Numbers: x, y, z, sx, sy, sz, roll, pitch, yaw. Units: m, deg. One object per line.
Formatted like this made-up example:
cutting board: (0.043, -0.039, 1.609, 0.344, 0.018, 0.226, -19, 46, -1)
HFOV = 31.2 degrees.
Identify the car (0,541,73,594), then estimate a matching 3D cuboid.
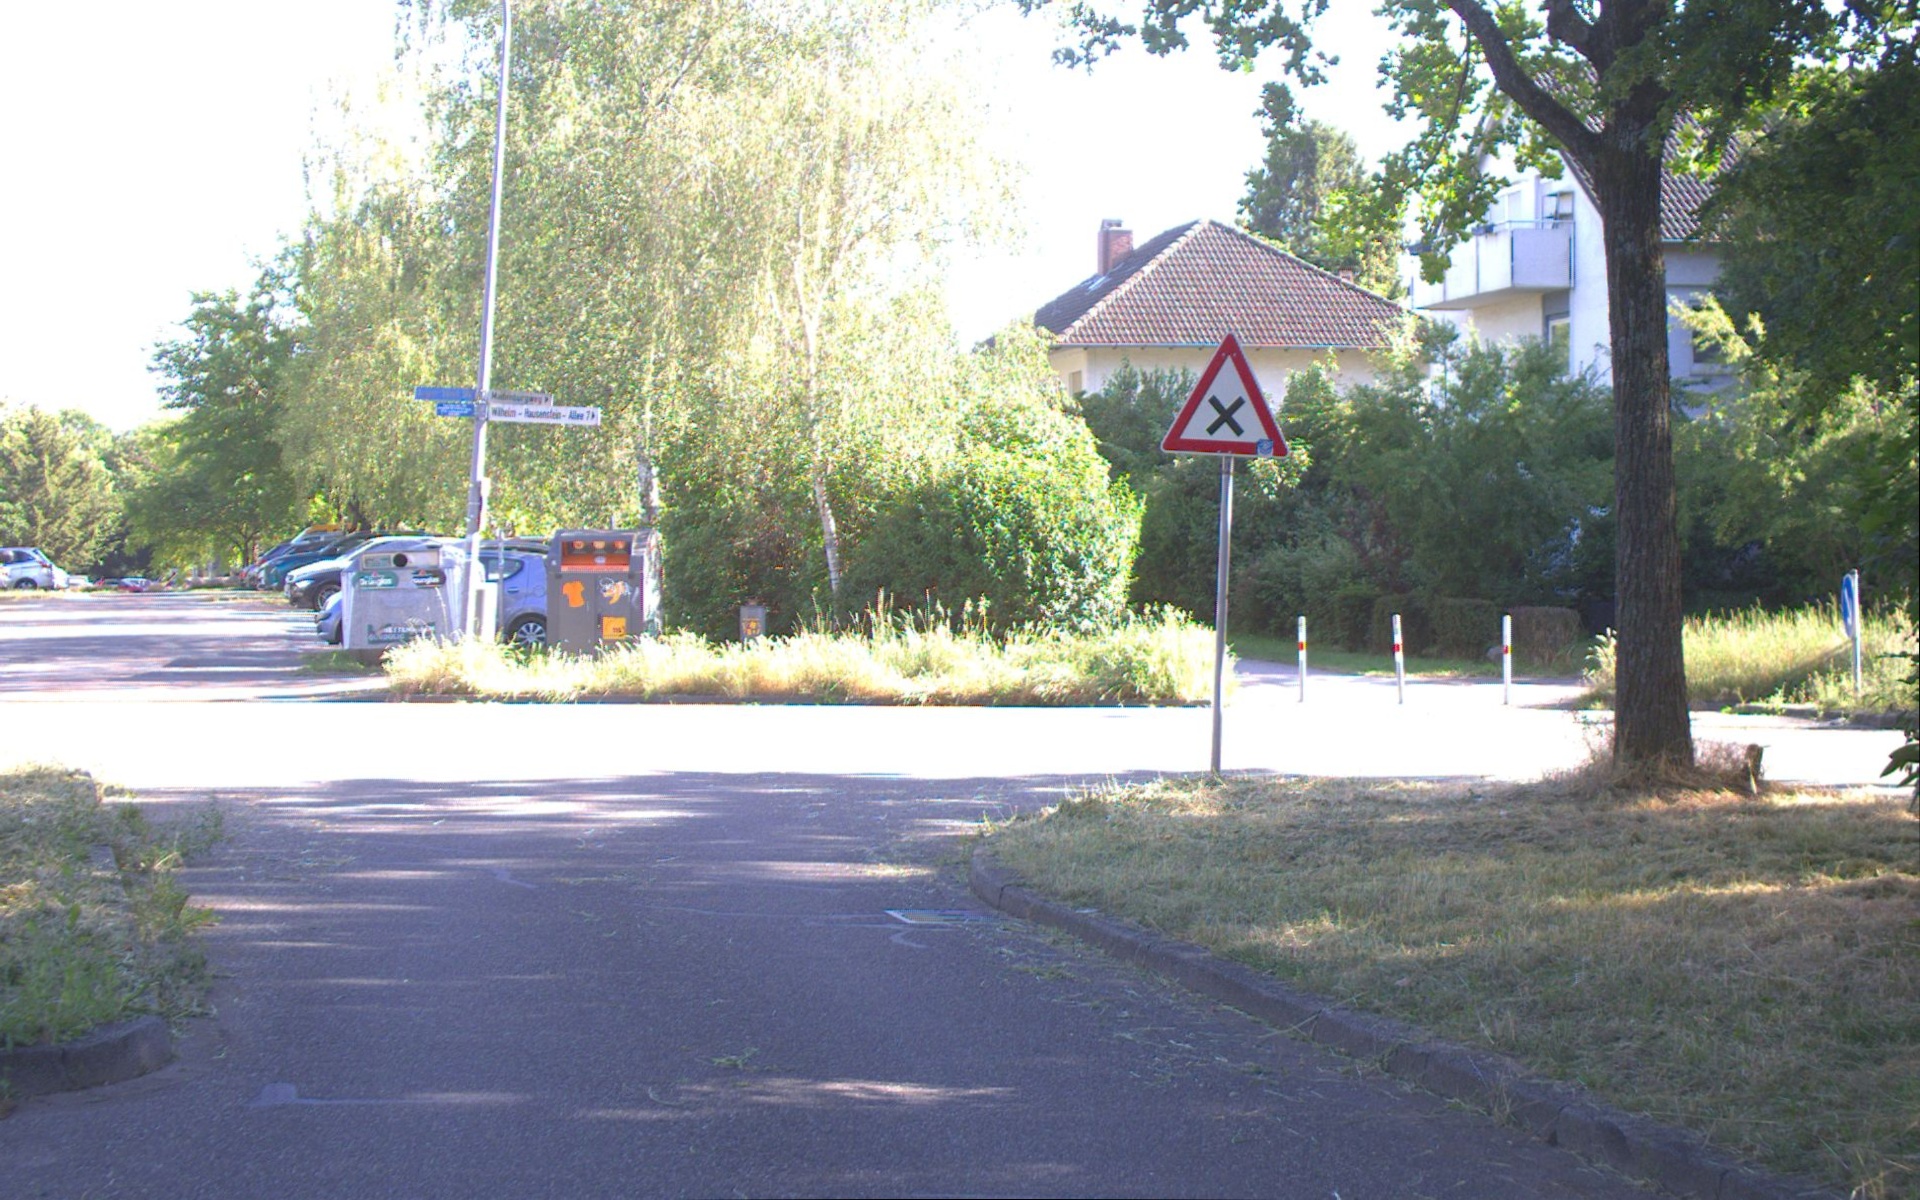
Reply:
car: (-25.027, -0.845, 88.981, 3.938, 1.329, 1.848, 0, 1, -13)

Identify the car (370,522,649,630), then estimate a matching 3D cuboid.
car: (-7.031, -0.381, 53.582, 4.051, 1.597, 1.791, 0, 2, -17)

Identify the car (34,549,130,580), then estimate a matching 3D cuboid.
car: (-35.110, -1.427, 137.582, 3.643, 1.208, 1.848, 0, 1, -13)

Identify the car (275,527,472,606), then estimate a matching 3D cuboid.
car: (-12.174, -0.695, 71.527, 3.986, 1.580, 1.798, 0, 0, -9)

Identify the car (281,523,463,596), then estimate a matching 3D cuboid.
car: (-13.263, -0.906, 77.686, 3.986, 1.580, 1.798, 0, 0, -9)

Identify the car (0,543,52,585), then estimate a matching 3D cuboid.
car: (-30.796, -1.144, 108.744, 3.938, 1.329, 1.848, 0, 1, -13)

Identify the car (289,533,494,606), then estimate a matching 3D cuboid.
car: (-11.345, -0.602, 68.725, 3.986, 1.396, 1.798, 0, 0, -9)

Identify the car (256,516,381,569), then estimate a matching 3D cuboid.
car: (-21.225, -1.897, 113.825, 3.986, 1.702, 1.798, 0, 0, -9)

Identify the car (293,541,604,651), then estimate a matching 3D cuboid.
car: (-7.092, -0.066, 47.918, 4.052, 1.434, 1.635, 1, 1, 1)

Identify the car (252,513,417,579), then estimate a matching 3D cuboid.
car: (-15.578, -1.341, 85.824, 3.986, 1.580, 1.798, 0, 0, -9)

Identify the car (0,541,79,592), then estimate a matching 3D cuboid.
car: (-25.578, -0.903, 91.706, 3.938, 1.329, 1.848, 0, 1, -13)
